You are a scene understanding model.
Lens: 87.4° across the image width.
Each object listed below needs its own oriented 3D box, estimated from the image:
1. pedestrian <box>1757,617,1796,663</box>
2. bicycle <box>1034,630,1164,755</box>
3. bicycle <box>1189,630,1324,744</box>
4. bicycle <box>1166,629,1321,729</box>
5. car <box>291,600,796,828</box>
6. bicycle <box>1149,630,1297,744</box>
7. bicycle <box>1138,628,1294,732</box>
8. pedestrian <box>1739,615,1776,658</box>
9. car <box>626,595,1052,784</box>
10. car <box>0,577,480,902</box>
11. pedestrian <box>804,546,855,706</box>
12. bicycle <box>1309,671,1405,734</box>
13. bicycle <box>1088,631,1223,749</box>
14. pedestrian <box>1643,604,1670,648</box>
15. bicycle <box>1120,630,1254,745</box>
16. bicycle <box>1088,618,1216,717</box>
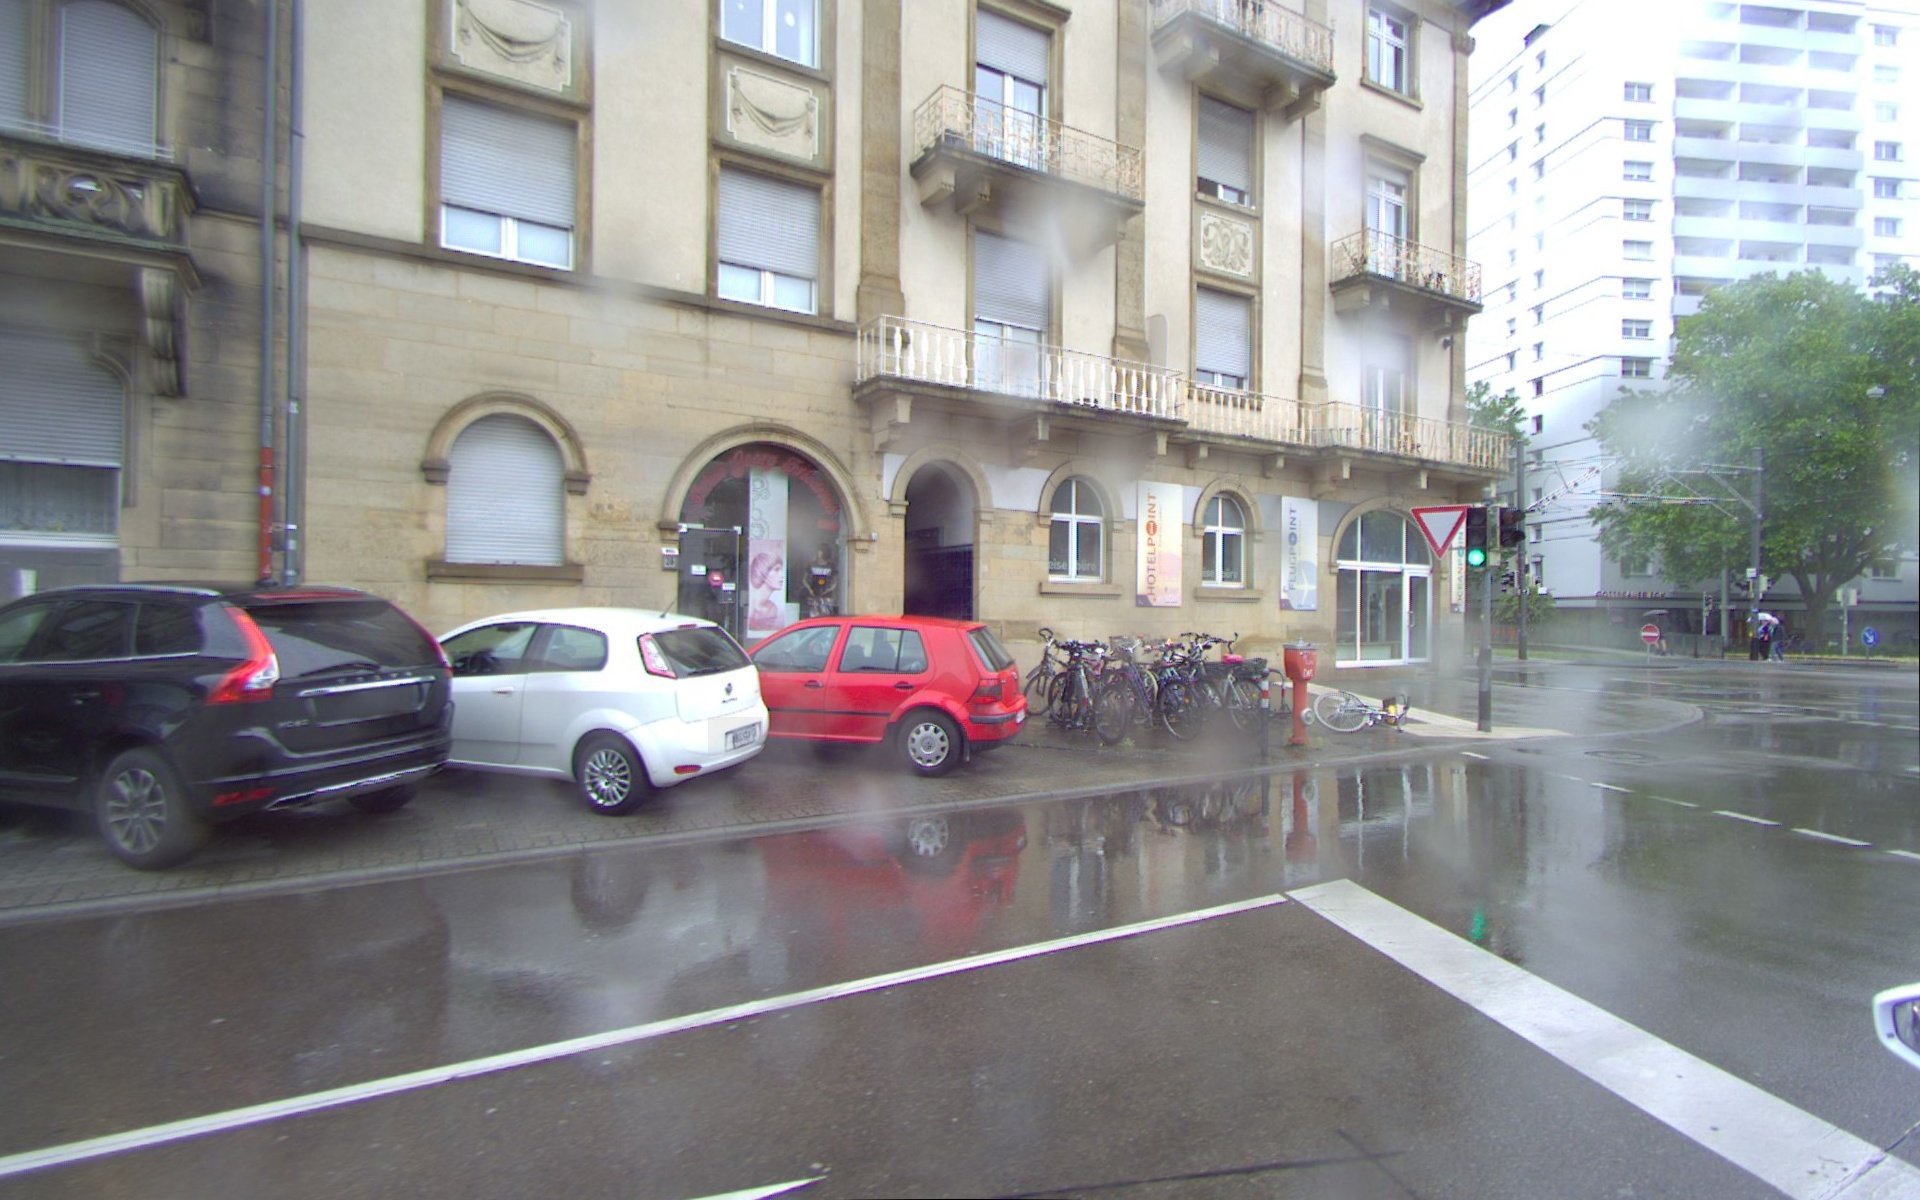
[{"bbox_3d":[30.484,1.492,37.507,0.743,1.670,0.835,0,-2,-15],"label":"pedestrian"},{"bbox_3d":[1.589,1.034,11.822,0.592,1.201,1.804,1,3,-25],"label":"bicycle"},{"bbox_3d":[3.784,1.069,12.994,0.432,1.347,1.968,0,-1,-28],"label":"bicycle"},{"bbox_3d":[4.109,1.112,14.776,0.634,1.364,2.325,1,-2,-35],"label":"bicycle"},{"bbox_3d":[-3.572,0.822,8.687,3.915,1.554,1.704,1,1,20],"label":"car"},{"bbox_3d":[3.298,1.060,12.792,0.470,1.200,1.968,1,2,-33],"label":"bicycle"},{"bbox_3d":[3.601,1.085,14.368,0.634,1.364,2.325,1,-1,-35],"label":"bicycle"},{"bbox_3d":[31.390,1.418,39.530,0.803,1.670,0.792,0,-2,-15],"label":"pedestrian"},{"bbox_3d":[-1.165,0.795,10.309,3.919,1.528,1.804,2,1,14],"label":"car"},{"bbox_3d":[-5.578,0.728,6.960,4.005,1.715,1.764,2,1,20],"label":"car"},{"bbox_3d":[-1.997,0.396,15.351,0.750,2.371,0.847,0,-1,-8],"label":"pedestrian"},{"bbox_3d":[5.430,1.370,13.680,1.023,0.672,1.476,2,0,28],"label":"bicycle"},{"bbox_3d":[2.341,1.050,12.266,0.470,1.200,1.800,1,3,-32],"label":"bicycle"},{"bbox_3d":[29.485,1.098,42.540,0.628,1.862,0.679,0,-2,-8],"label":"pedestrian"},{"bbox_3d":[2.791,1.047,12.556,0.463,1.200,1.799,1,2,-32],"label":"bicycle"},{"bbox_3d":[2.803,0.947,14.878,0.579,1.364,2.043,1,-1,-35],"label":"bicycle"}]
